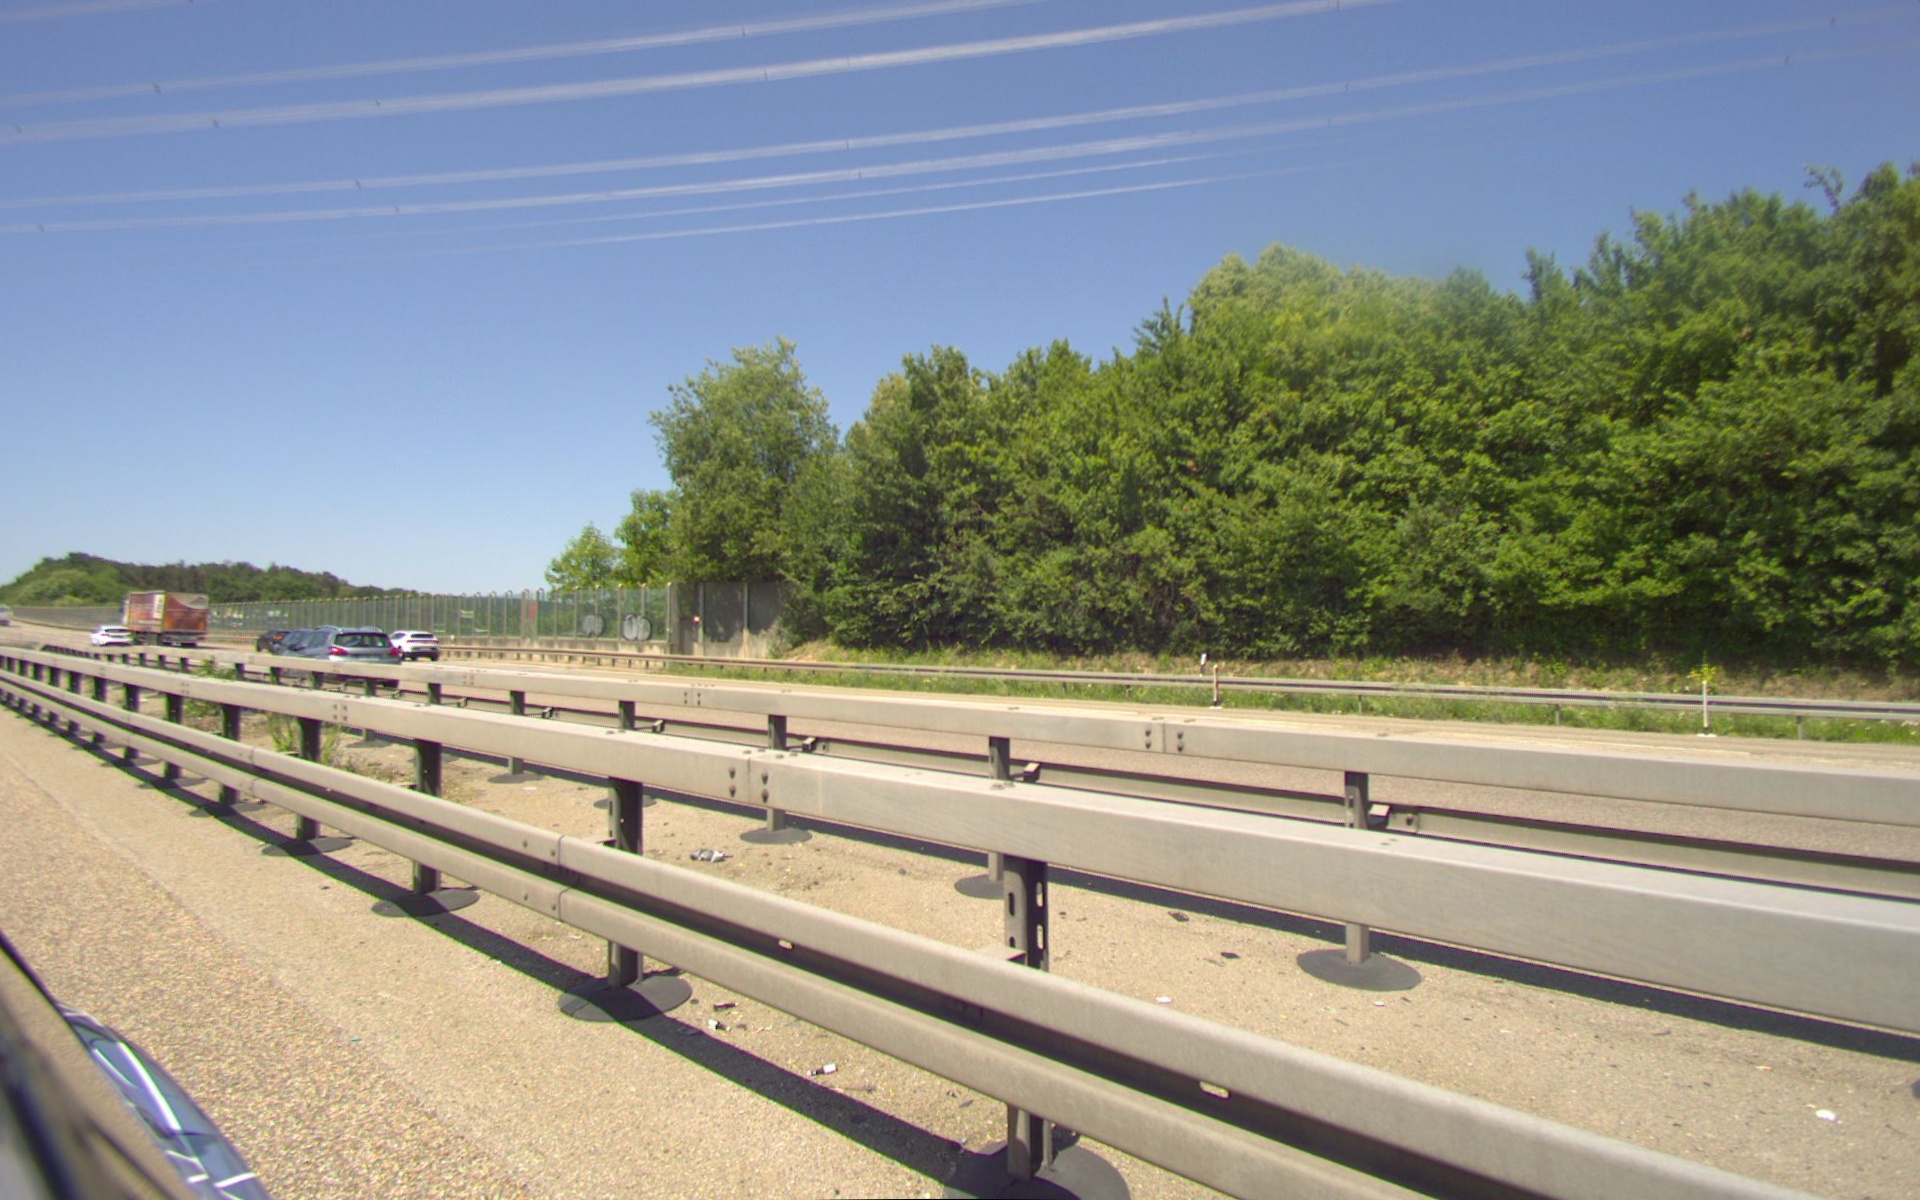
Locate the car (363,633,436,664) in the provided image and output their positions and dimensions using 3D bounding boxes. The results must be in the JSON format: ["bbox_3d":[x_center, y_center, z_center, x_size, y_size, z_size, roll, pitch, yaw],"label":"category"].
[{"bbox_3d":[-28.382,2.457,51.203,4.341,1.467,1.668,-1,-3,39],"label":"car"}]

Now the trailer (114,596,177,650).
[{"bbox_3d":[-63.696,1.846,79.123,6.129,4.007,2.728,-2,-4,42],"label":"trailer"}]

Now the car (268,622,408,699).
[{"bbox_3d":[-14.981,1.377,24.308,3.948,1.643,1.755,-1,0,41],"label":"car"}]

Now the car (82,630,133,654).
[{"bbox_3d":[-55.686,2.719,66.065,4.302,1.478,1.831,-1,-2,40],"label":"car"}]

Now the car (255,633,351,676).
[{"bbox_3d":[-24.427,2.004,37.582,4.142,1.457,1.857,-1,-3,41],"label":"car"}]

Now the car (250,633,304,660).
[{"bbox_3d":[-45.449,3.080,67.308,5.276,1.588,1.971,-1,0,44],"label":"car"}]

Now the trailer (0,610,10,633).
[{"bbox_3d":[-181.995,4.006,190.143,14.038,4.267,3.946,-1,-1,43],"label":"trailer"}]

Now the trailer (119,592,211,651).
[{"bbox_3d":[-59.176,1.687,75.090,14.675,4.007,2.734,-2,-4,42],"label":"trailer"}]
